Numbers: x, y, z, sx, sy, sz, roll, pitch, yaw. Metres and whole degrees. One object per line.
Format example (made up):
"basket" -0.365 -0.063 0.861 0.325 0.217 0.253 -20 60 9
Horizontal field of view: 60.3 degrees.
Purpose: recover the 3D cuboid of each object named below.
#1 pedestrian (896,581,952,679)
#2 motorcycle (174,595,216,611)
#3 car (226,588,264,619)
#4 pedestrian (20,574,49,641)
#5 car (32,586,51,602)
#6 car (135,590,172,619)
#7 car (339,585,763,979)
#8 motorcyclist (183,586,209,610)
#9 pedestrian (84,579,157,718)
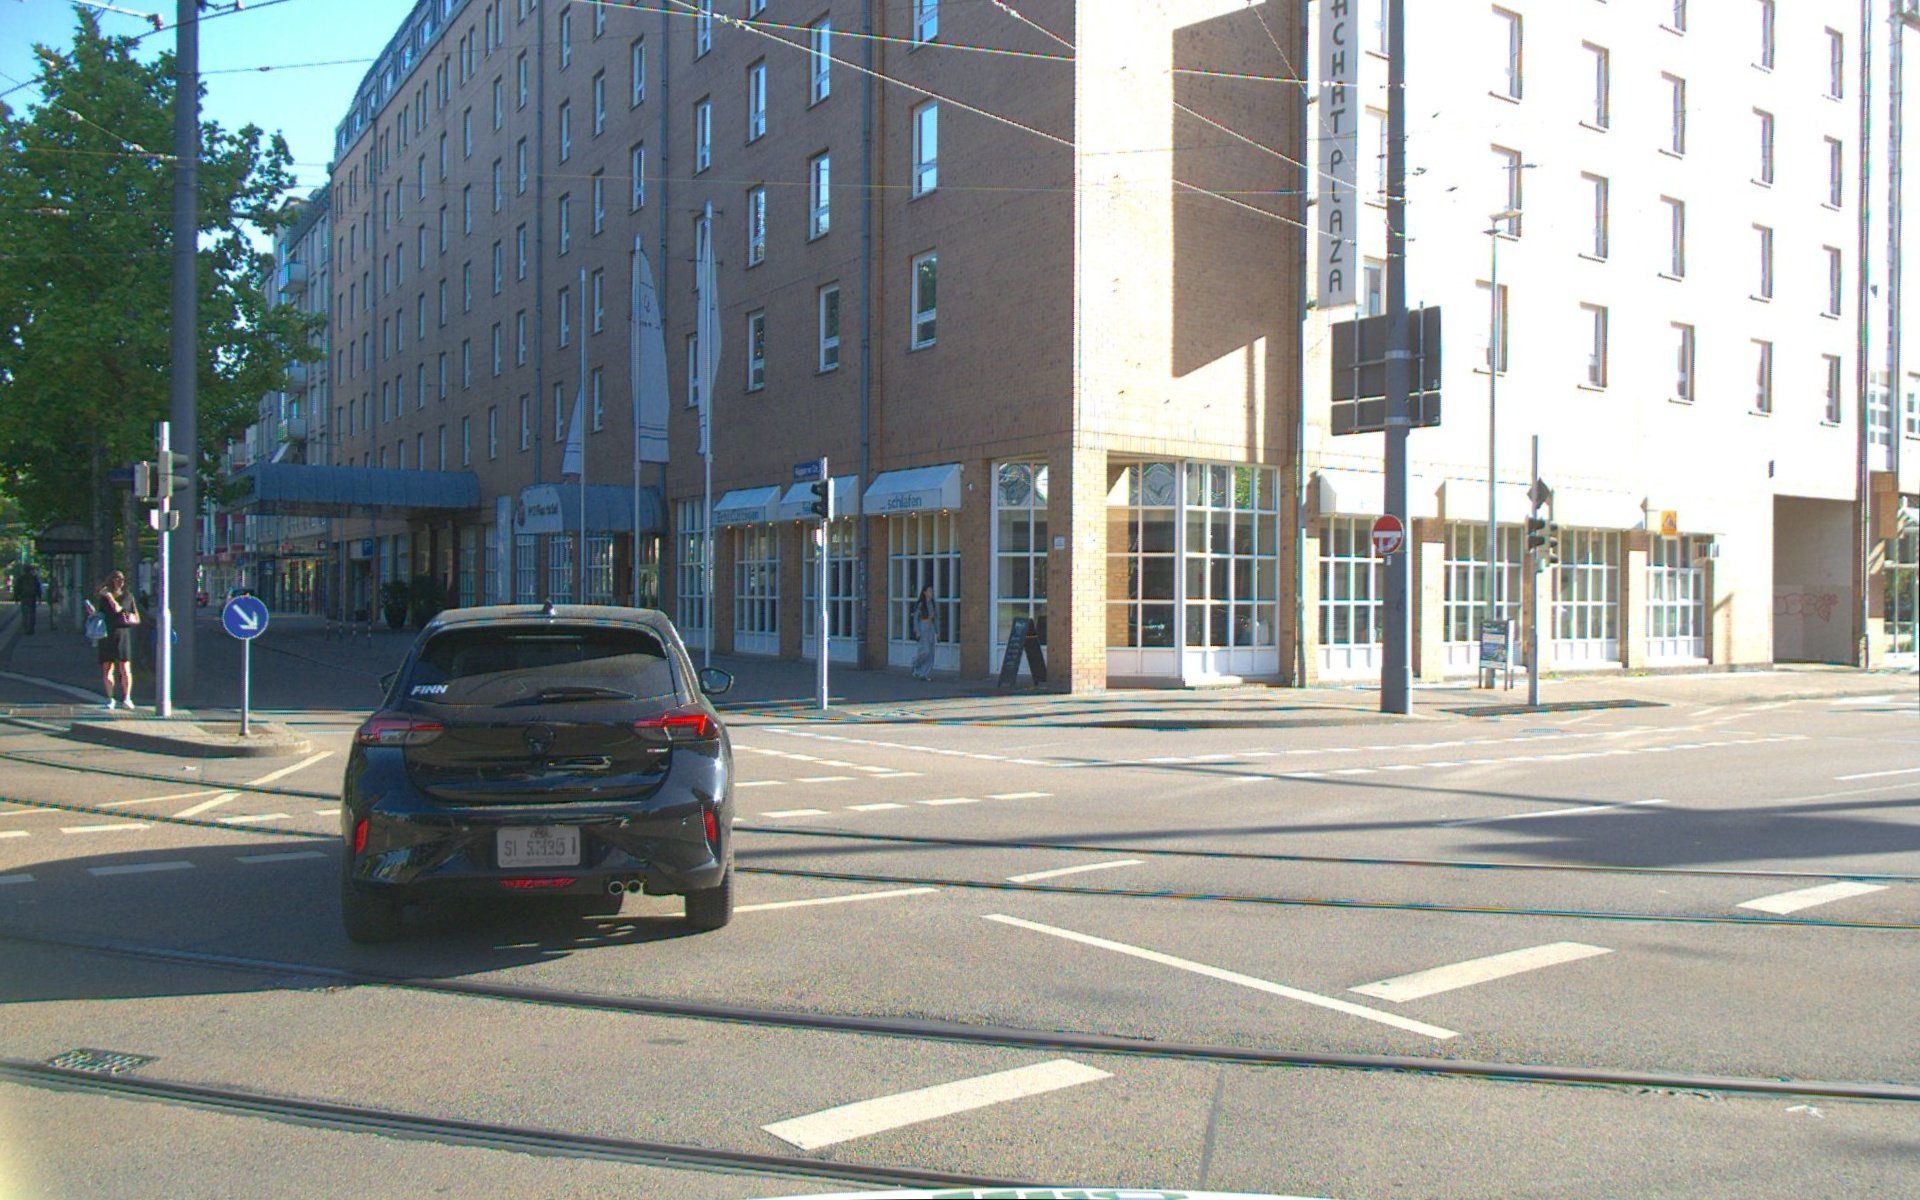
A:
"pedestrian" -0.642 0.518 29.271 0.730 1.695 0.746 -1 0 -28
"motorcycle" -55.566 0.224 120.147 3.031 1.077 1.306 1 0 31
"car" -39.234 0.171 90.712 1.653 1.681 3.656 0 0 -28
"pedestrian" -23.925 0.199 42.751 0.597 1.709 0.481 -2 1 -30
"car" -90.821 -0.627 163.454 1.596 1.528 3.653 0 0 -30
"car" -44.881 0.234 92.002 1.596 1.528 3.653 0 0 -30
"car" -2.016 0.697 8.423 1.643 1.528 3.678 0 0 -13
"motorcyclist" -55.497 -0.117 120.132 1.210 1.728 1.306 0 0 31
"pedestrian" -10.653 0.597 21.016 0.704 1.709 0.826 -2 1 -21
